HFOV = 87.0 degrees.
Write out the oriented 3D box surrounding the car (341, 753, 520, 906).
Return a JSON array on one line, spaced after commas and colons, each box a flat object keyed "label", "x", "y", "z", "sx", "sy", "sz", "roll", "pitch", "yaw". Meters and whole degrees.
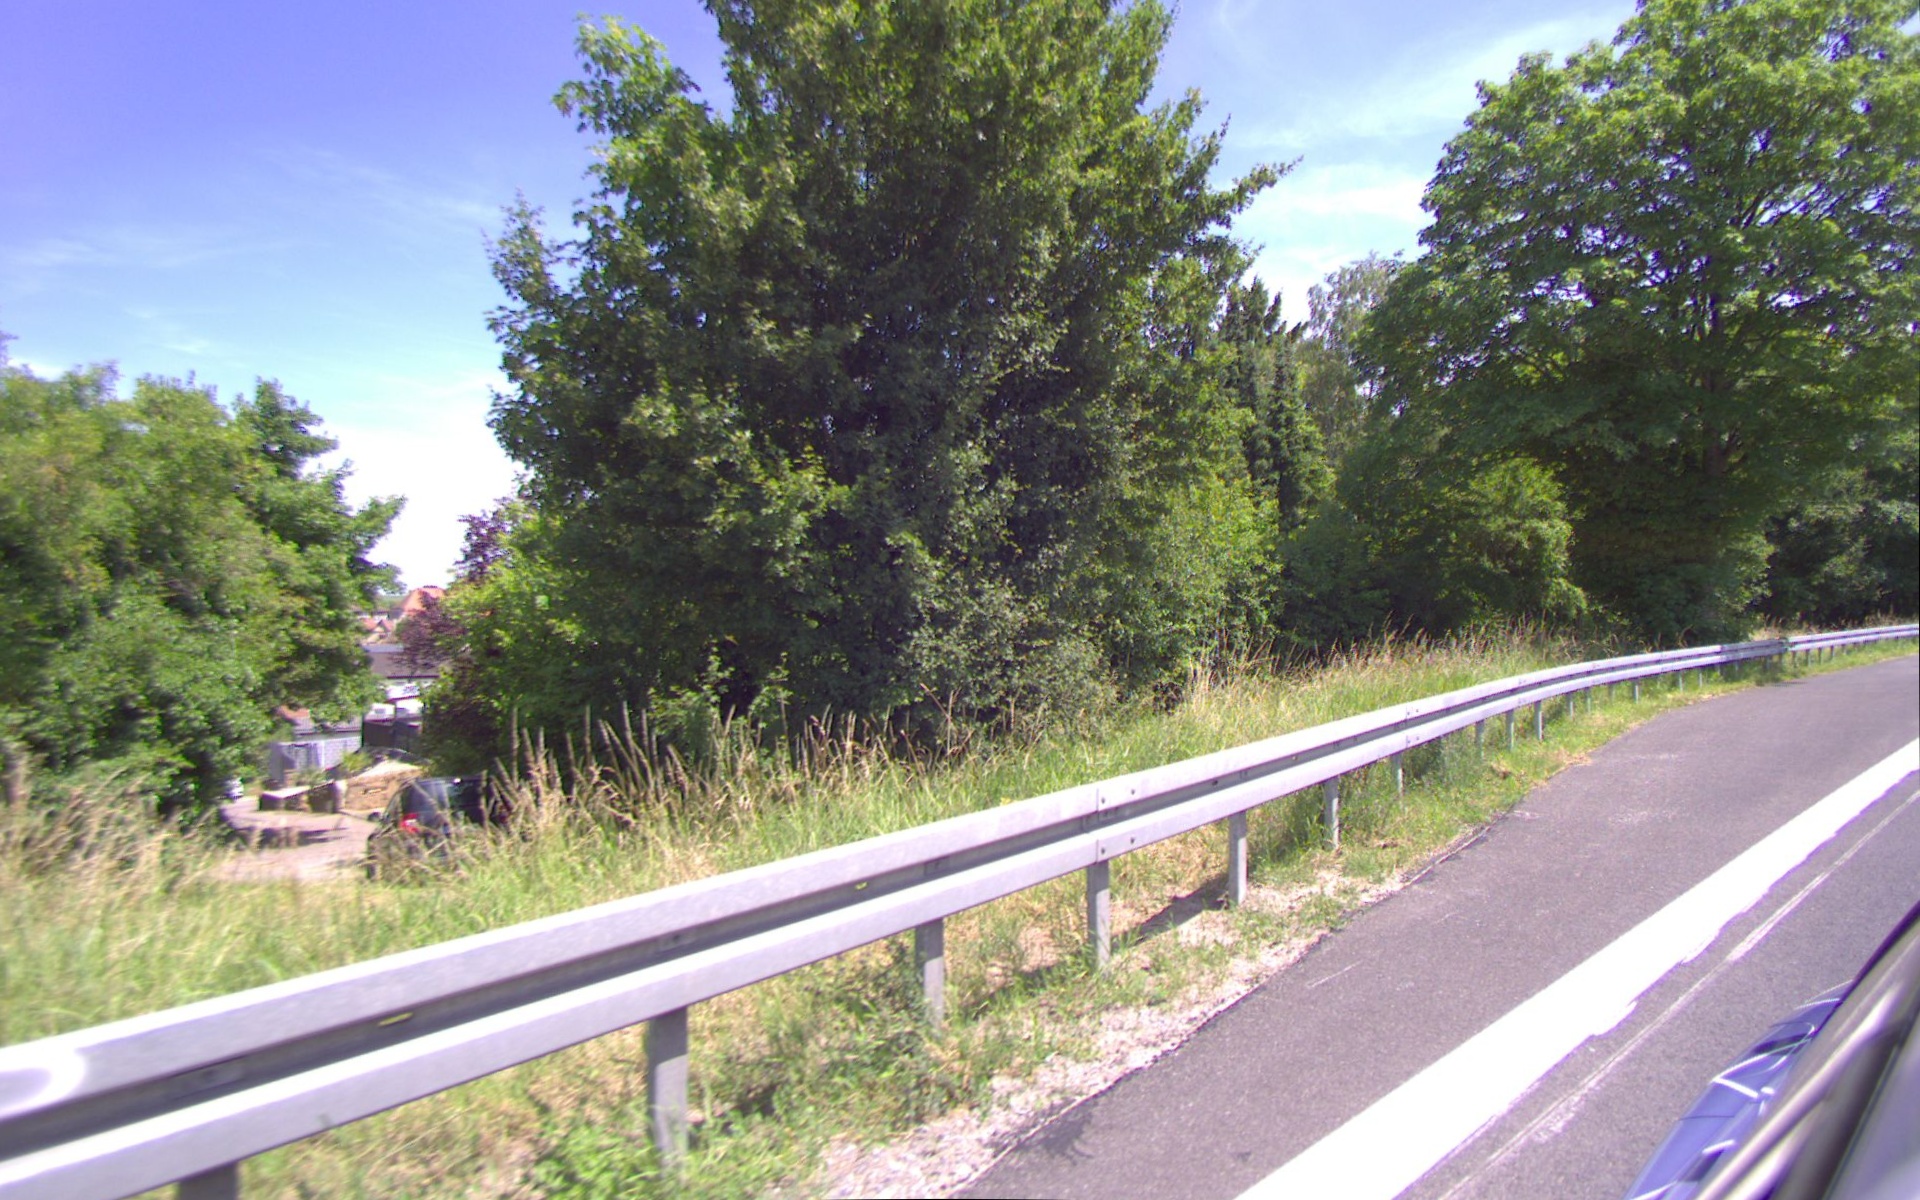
[{"label": "car", "x": -8.740, "y": 3.588, "z": 16.539, "sx": 1.729, "sy": 1.715, "sz": 3.992, "roll": 0, "pitch": -3, "yaw": -41}]
